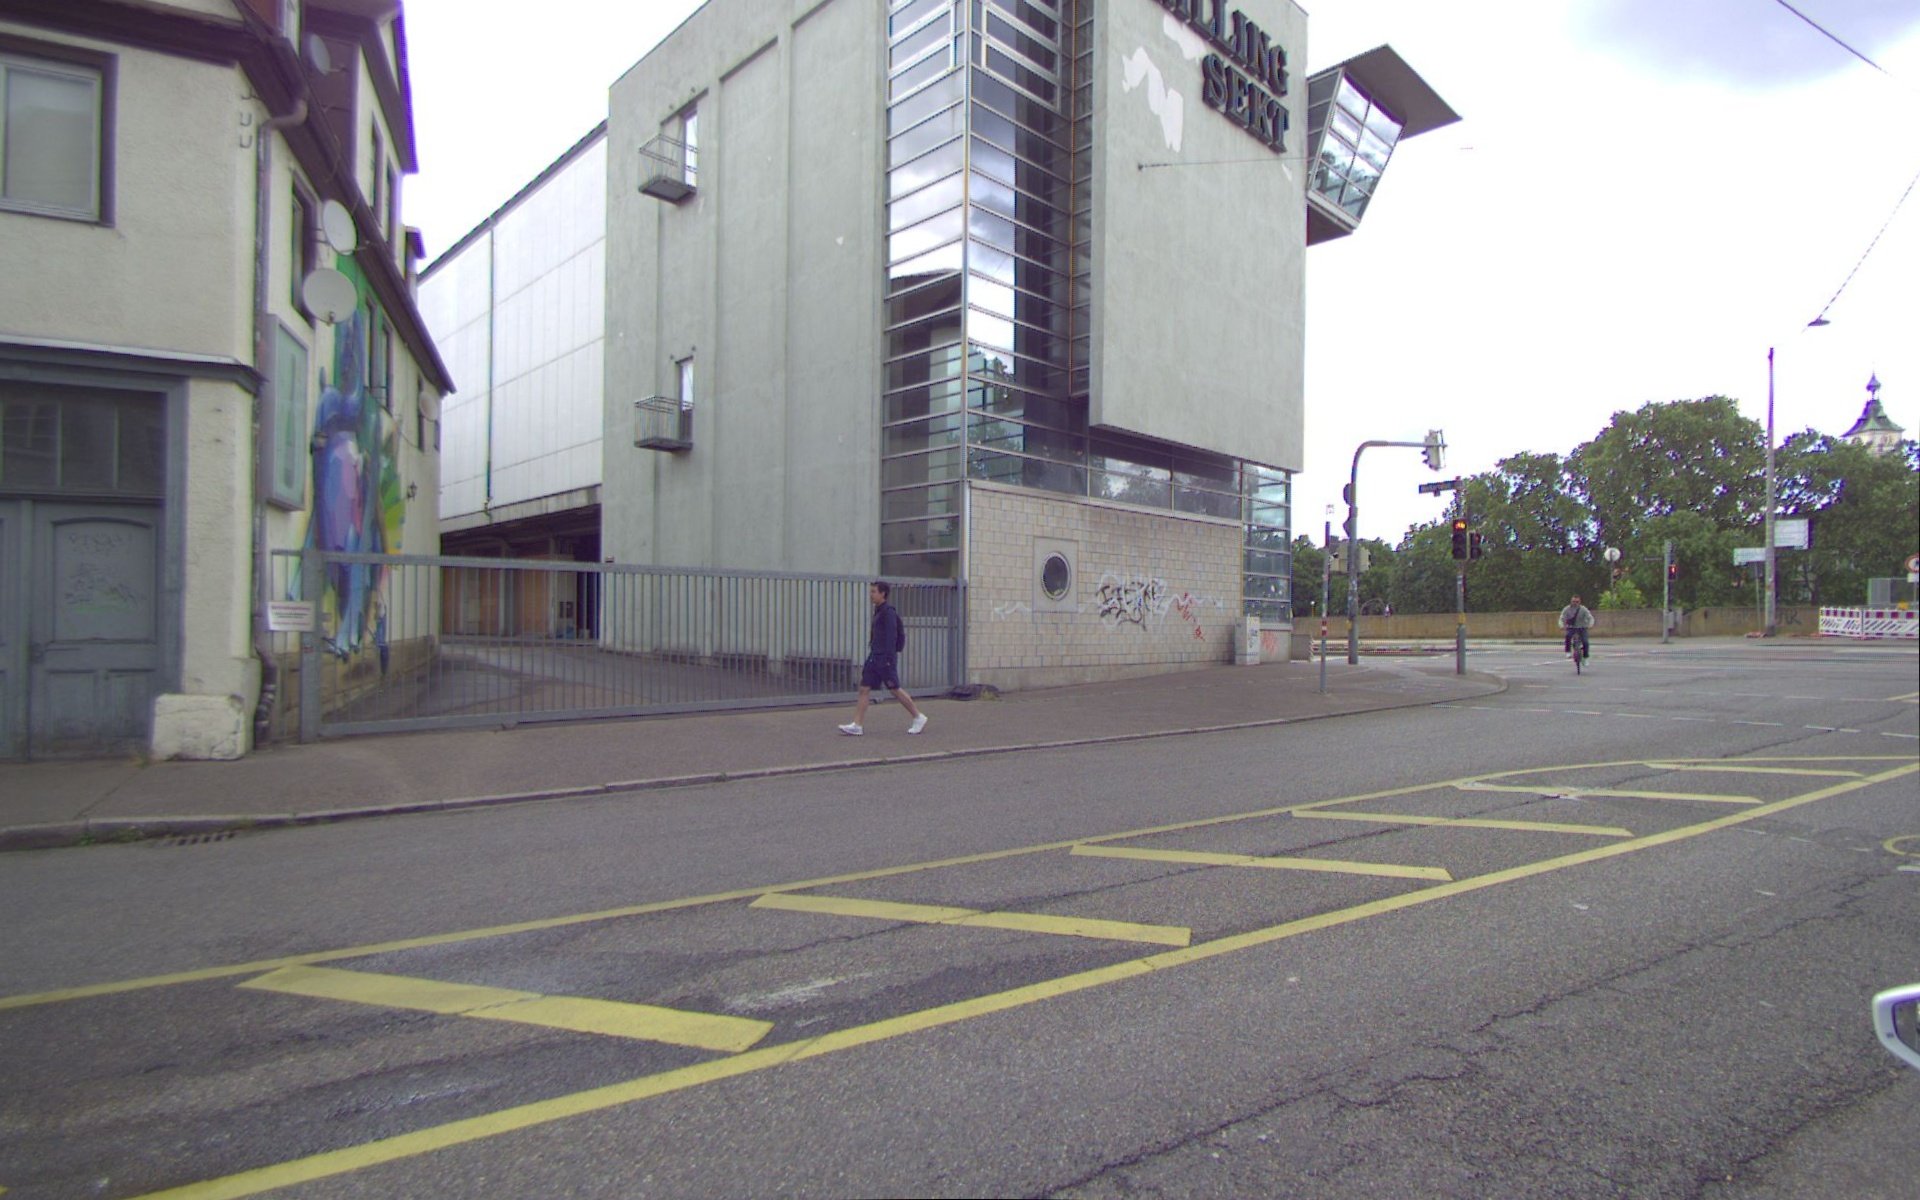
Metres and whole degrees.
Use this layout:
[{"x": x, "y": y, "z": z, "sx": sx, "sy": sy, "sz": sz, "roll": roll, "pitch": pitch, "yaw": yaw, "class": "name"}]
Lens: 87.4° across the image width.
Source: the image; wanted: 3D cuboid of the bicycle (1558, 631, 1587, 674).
[{"x": 13.976, "y": 1.179, "z": 22.905, "sx": 0.533, "sy": 0.904, "sz": 1.875, "roll": 0, "pitch": -1, "yaw": 32, "class": "bicycle"}]

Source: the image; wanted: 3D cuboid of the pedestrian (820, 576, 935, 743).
[{"x": -1.013, "y": 0.676, "z": 12.195, "sx": 1.077, "sy": 1.911, "sz": 1.050, "roll": -1, "pitch": 1, "yaw": -27, "class": "pedestrian"}]

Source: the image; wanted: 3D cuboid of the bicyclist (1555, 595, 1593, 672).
[{"x": 13.981, "y": 0.750, "z": 22.882, "sx": 0.713, "sy": 1.723, "sz": 0.809, "roll": 0, "pitch": -1, "yaw": 33, "class": "bicyclist"}]
